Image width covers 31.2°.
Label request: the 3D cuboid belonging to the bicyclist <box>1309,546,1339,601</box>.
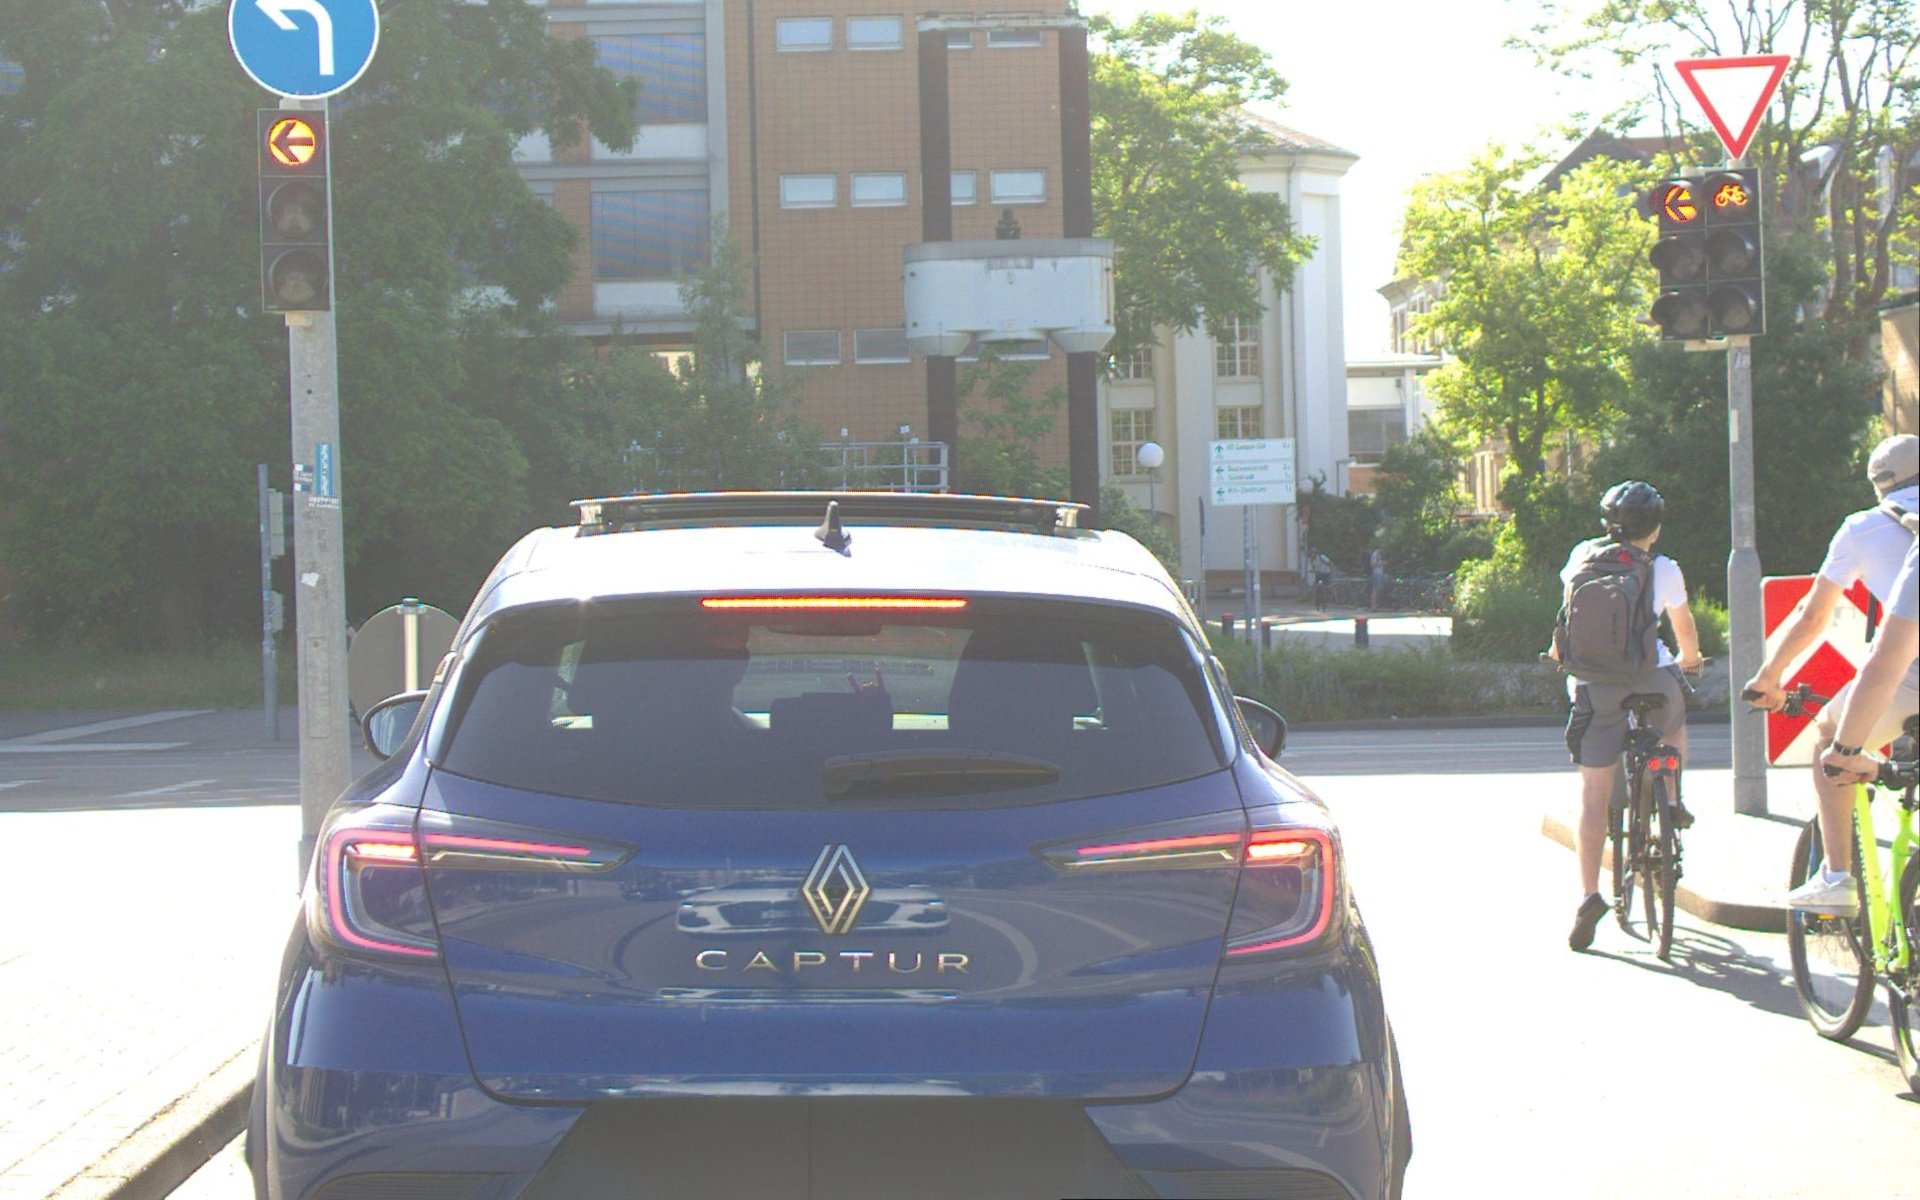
[{"bbox_3d":[9.816,-0.717,92.634,0.695,1.476,0.717,-1,1,14],"label":"bicyclist"}]

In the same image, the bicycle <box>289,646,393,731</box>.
[{"bbox_3d":[-7.887,1.120,43.914,0.755,0.981,2.093,-1,1,5],"label":"bicycle"}]

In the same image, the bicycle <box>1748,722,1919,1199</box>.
[{"bbox_3d":[2.229,0.846,7.212,0.689,1.085,1.922,0,1,-1],"label":"bicycle"}]

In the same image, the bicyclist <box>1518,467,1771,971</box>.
[{"bbox_3d":[2.520,0.415,12.760,0.699,1.785,1.142,0,1,-1],"label":"bicyclist"}]

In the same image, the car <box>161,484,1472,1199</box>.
[{"bbox_3d":[-0.273,0.609,6.656,1.788,1.580,3.915,0,1,-2],"label":"car"}]

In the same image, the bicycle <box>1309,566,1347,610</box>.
[{"bbox_3d":[10.003,-0.329,93.471,0.695,1.136,2.440,-1,1,13],"label":"bicycle"}]

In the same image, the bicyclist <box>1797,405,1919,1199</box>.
[{"bbox_3d":[2.237,0.502,7.188,0.683,1.785,1.142,0,1,-1],"label":"bicyclist"}]

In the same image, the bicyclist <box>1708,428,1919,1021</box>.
[{"bbox_3d":[2.598,0.327,9.787,0.678,1.589,1.142,0,1,-1],"label":"bicyclist"}]

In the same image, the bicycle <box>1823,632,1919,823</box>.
[{"bbox_3d":[5.607,0.646,18.240,1.898,0.970,0.649,-2,0,7],"label":"bicycle"}]

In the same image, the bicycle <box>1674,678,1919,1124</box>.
[{"bbox_3d":[2.596,0.799,9.834,0.689,1.085,1.922,0,1,-1],"label":"bicycle"}]

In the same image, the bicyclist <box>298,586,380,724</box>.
[{"bbox_3d":[-7.907,0.688,43.804,0.755,1.710,0.998,-1,1,5],"label":"bicyclist"}]

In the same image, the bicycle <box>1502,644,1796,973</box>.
[{"bbox_3d":[2.527,0.730,12.809,0.689,1.085,1.922,0,1,-1],"label":"bicycle"}]
